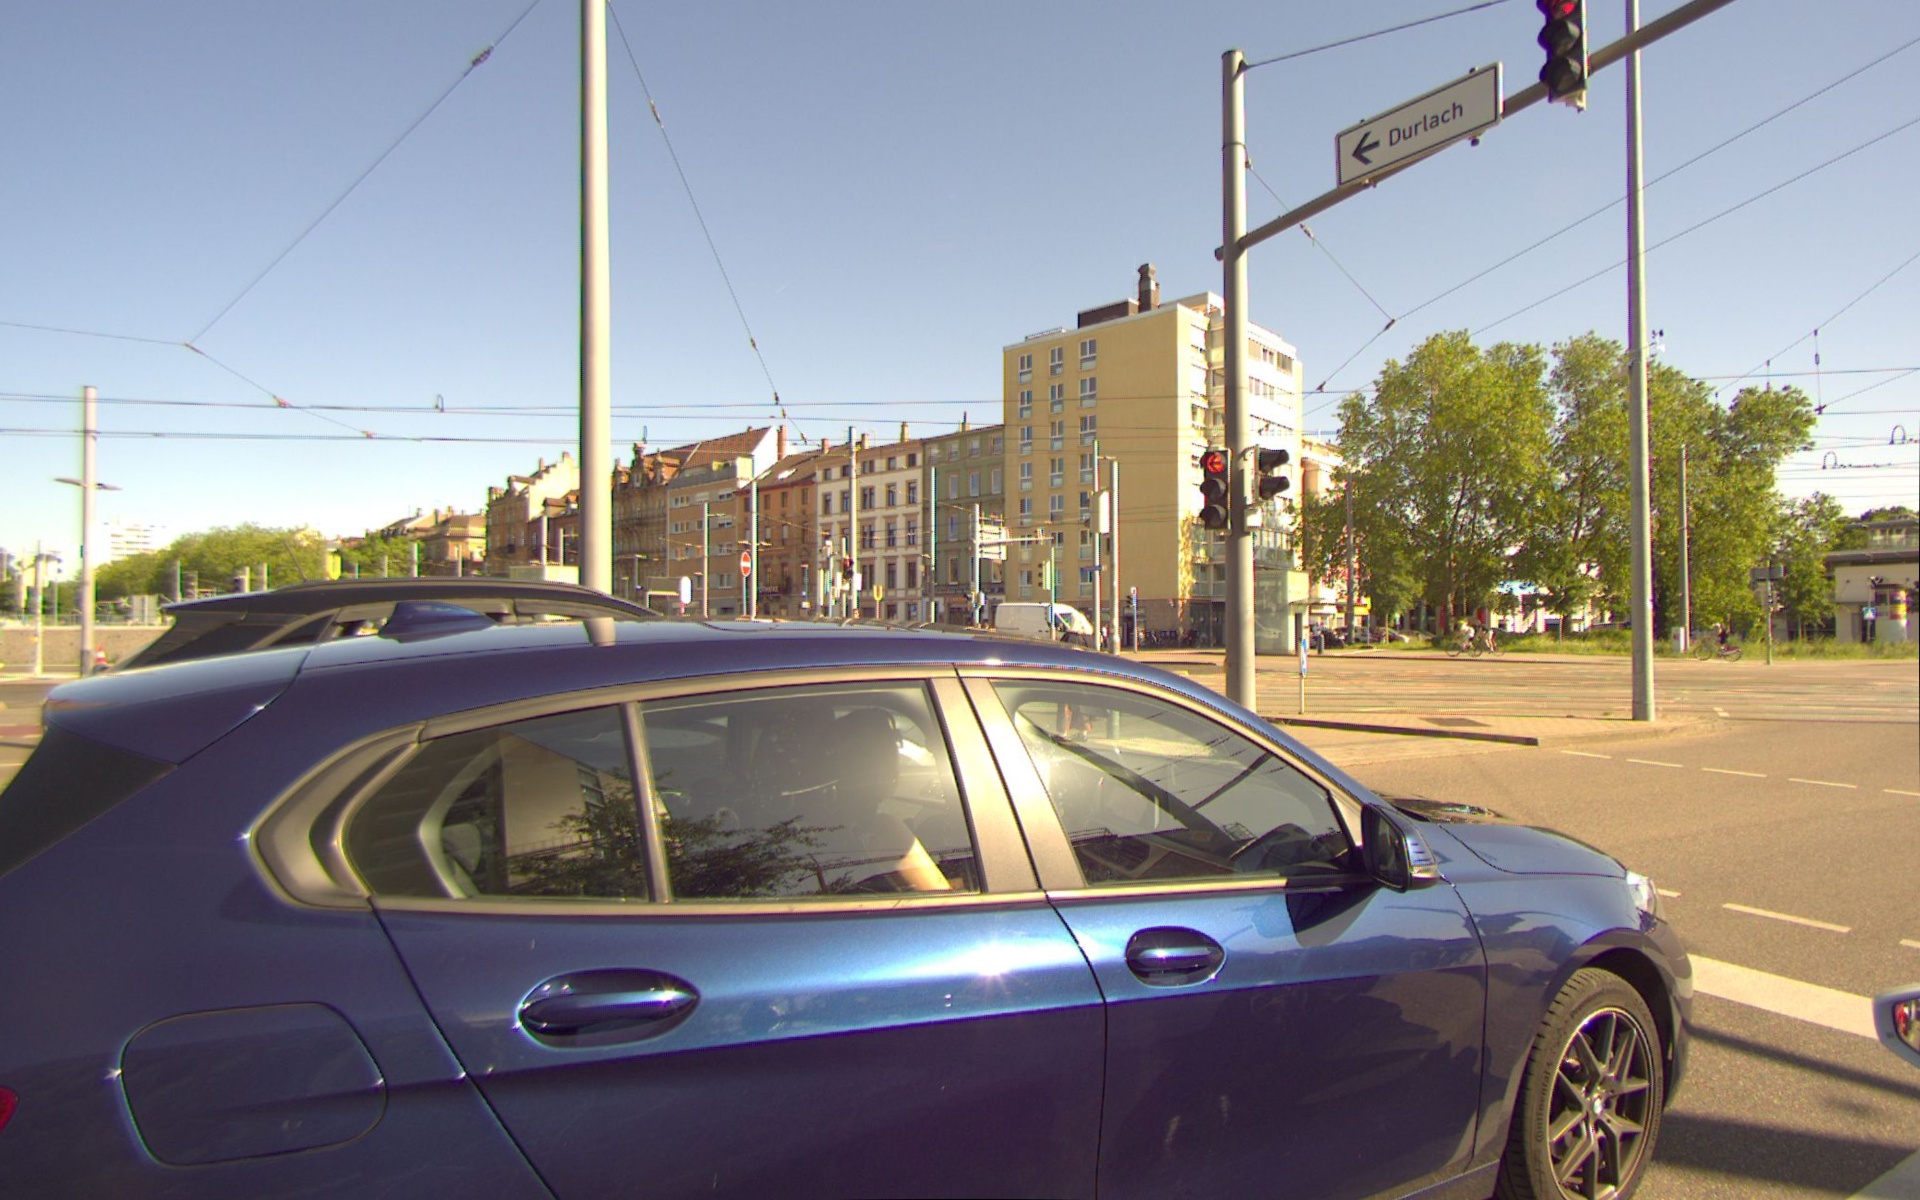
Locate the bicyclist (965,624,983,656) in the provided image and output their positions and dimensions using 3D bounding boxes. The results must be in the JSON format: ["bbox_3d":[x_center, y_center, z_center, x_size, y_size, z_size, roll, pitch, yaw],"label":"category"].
[{"bbox_3d":[0.646,1.850,46.285,0.609,1.462,0.614,1,-1,-30],"label":"bicyclist"}]

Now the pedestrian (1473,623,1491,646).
[{"bbox_3d":[26.460,1.751,50.918,0.739,1.142,0.422,-1,-2,41],"label":"pedestrian"}]

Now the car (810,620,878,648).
[{"bbox_3d":[-7.190,2.074,62.074,4.244,1.675,1.849,-1,-2,40],"label":"car"}]

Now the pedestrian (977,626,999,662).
[{"bbox_3d":[1.241,1.950,44.483,0.669,1.593,0.740,1,-2,-45],"label":"pedestrian"}]

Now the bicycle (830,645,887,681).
[{"bbox_3d":[-2.692,1.642,26.474,0.672,0.890,1.880,1,-2,-35],"label":"bicycle"}]

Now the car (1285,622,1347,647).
[{"bbox_3d":[24.441,2.374,69.022,3.691,1.684,1.586,-1,-2,42],"label":"car"}]

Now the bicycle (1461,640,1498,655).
[{"bbox_3d":[26.360,2.420,50.995,1.610,0.727,0.422,-1,-2,41],"label":"bicycle"}]

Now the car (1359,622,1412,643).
[{"bbox_3d":[34.895,2.670,82.374,3.691,1.684,1.586,-1,-2,42],"label":"car"}]

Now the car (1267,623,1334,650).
[{"bbox_3d":[21.621,2.288,63.829,3.691,1.684,1.586,-1,-2,42],"label":"car"}]

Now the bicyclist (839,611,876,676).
[{"bbox_3d":[-2.702,1.143,26.482,0.672,1.676,0.777,1,-1,-35],"label":"bicyclist"}]

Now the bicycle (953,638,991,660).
[{"bbox_3d":[0.558,2.256,46.219,1.666,0.958,0.614,1,-2,-30],"label":"bicycle"}]

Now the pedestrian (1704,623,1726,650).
[{"bbox_3d":[34.739,1.663,46.228,0.784,1.220,0.558,-1,-2,36],"label":"pedestrian"}]

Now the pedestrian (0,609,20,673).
[{"bbox_3d":[-28.258,1.194,29.433,0.872,1.879,0.683,1,-1,-30],"label":"pedestrian"}]

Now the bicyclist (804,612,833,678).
[{"bbox_3d":[-3.681,1.155,26.124,0.667,1.676,0.782,0,-1,-16],"label":"bicyclist"}]

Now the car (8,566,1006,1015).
[{"bbox_3d":[-1.907,0.688,5.159,3.959,1.537,1.751,1,-1,-28],"label":"car"}]

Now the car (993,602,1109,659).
[{"bbox_3d":[4.188,1.419,47.022,5.342,2.541,1.989,-1,-2,42],"label":"car"}]

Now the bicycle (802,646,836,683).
[{"bbox_3d":[-3.689,1.663,26.153,0.667,0.890,1.893,0,-2,-15],"label":"bicycle"}]

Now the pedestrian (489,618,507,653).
[{"bbox_3d":[-23.021,1.777,50.065,0.672,1.735,0.793,1,-1,-38],"label":"pedestrian"}]

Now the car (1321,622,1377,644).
[{"bbox_3d":[29.910,2.534,77.338,3.691,1.684,1.586,-1,-2,42],"label":"car"}]

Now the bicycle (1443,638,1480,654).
[{"bbox_3d":[25.042,2.293,50.201,1.609,0.769,0.422,-1,-2,38],"label":"bicycle"}]

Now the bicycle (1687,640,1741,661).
[{"bbox_3d":[34.700,2.310,46.244,1.979,0.925,0.560,-1,-2,37],"label":"bicycle"}]

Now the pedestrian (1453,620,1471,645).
[{"bbox_3d":[25.068,1.621,50.192,0.738,1.220,0.422,-1,-2,38],"label":"pedestrian"}]

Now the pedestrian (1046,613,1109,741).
[{"bbox_3d":[1.468,0.957,12.574,0.746,1.575,0.357,0,-1,-1],"label":"pedestrian"}]

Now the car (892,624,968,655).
[{"bbox_3d":[-1.716,2.220,56.431,4.246,1.675,1.848,-1,-2,42],"label":"car"}]

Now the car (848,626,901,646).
[{"bbox_3d":[-6.295,2.662,74.432,1.749,1.446,3.863,-1,-2,39],"label":"car"}]

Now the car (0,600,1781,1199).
[{"bbox_3d":[0.128,0.777,2.533,3.984,1.464,1.703,1,0,-30],"label":"car"}]
